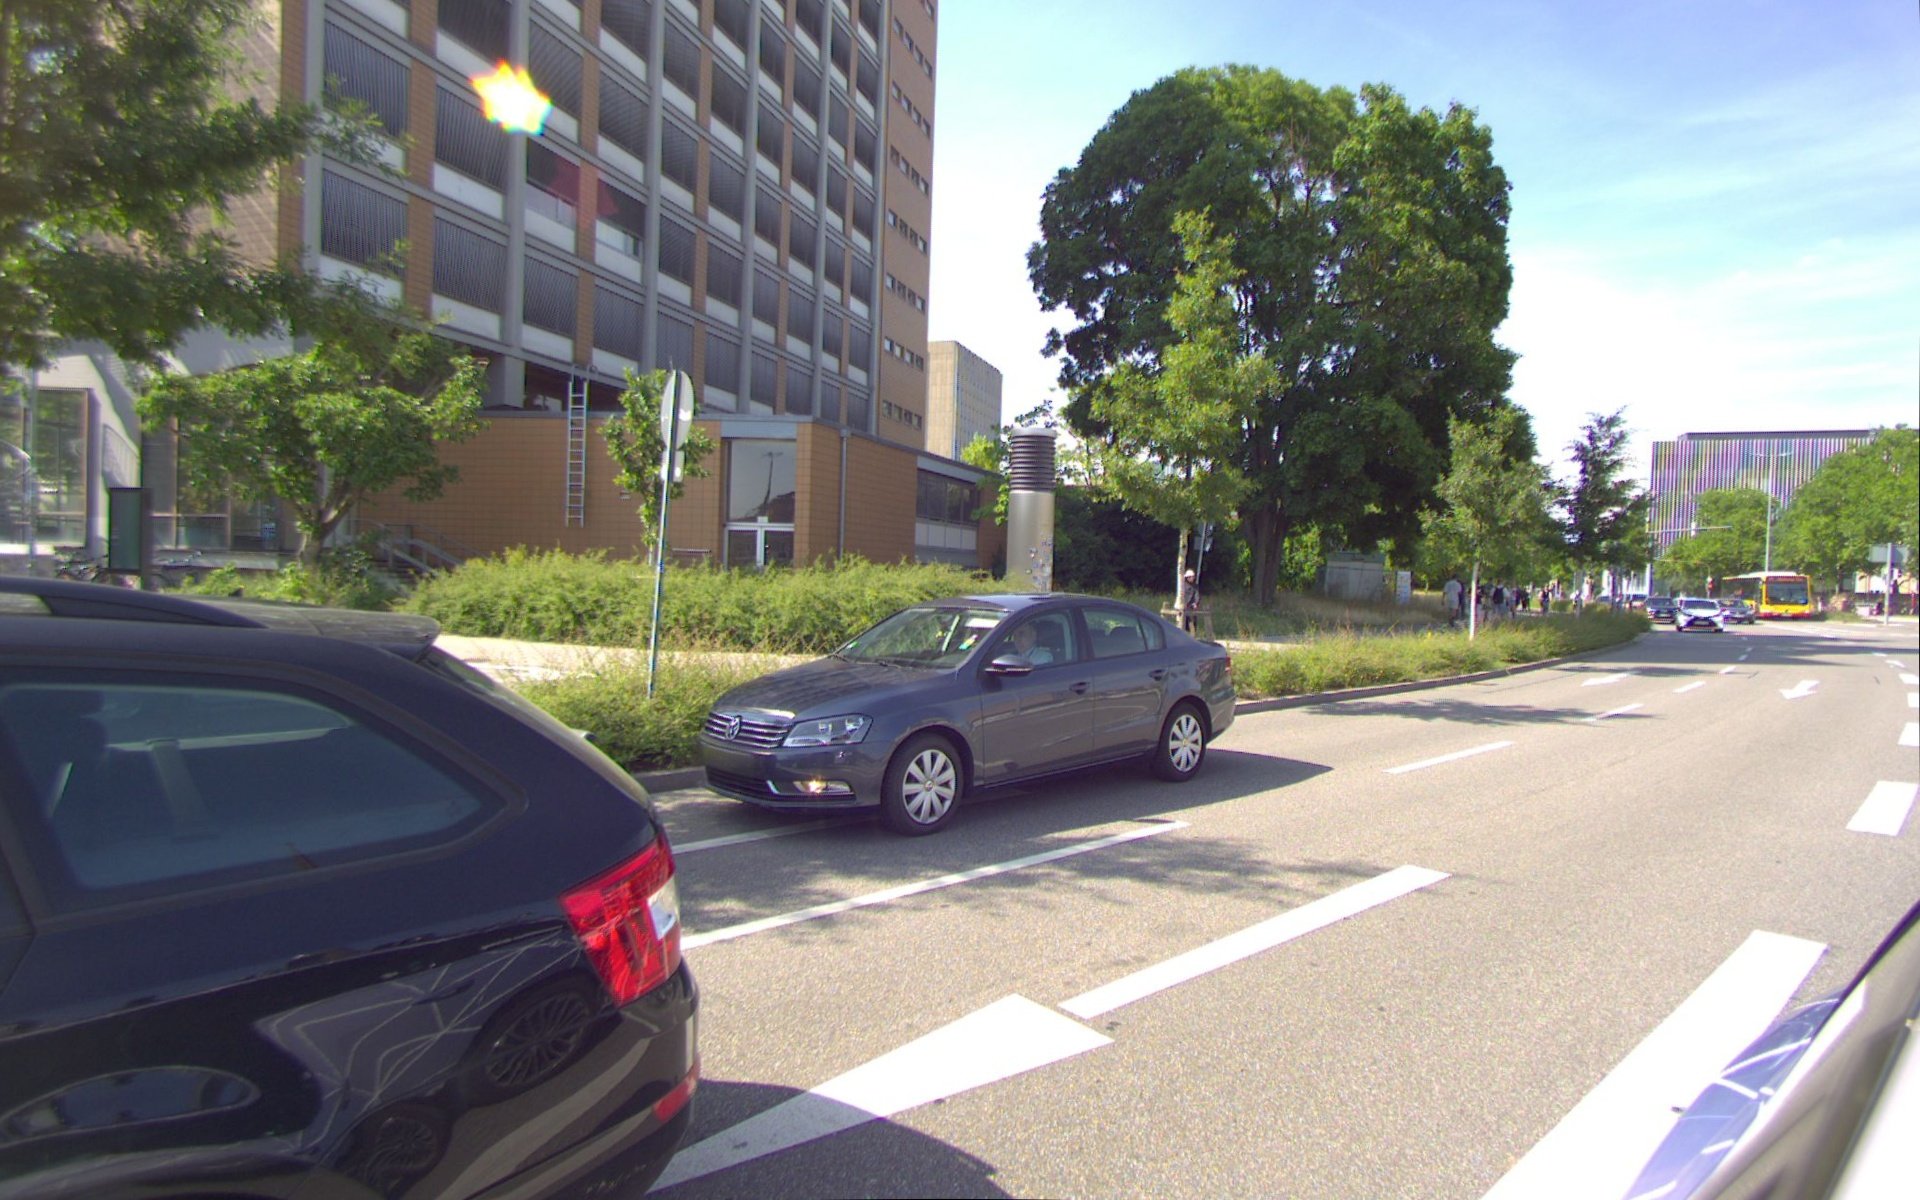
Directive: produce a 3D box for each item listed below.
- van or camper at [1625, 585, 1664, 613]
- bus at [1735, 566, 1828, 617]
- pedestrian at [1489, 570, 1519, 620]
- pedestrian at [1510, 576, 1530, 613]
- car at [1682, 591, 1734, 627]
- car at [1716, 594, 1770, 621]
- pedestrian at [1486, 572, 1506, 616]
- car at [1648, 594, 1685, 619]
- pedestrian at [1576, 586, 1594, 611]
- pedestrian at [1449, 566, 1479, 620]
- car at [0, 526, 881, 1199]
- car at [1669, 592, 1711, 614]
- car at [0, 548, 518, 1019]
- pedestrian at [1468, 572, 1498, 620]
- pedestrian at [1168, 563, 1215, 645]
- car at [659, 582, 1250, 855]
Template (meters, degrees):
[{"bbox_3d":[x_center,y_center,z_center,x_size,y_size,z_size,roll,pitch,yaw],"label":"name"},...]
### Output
[{"bbox_3d":[46.956,-0.094,69.464,1.714,1.911,4.874,0,0,28],"label":"van or camper"},{"bbox_3d":[54.878,-0.590,67.946,2.773,3.076,12.021,2,1,30],"label":"bus"},{"bbox_3d":[19.072,-0.177,35.461,0.739,1.694,0.643,0,3,-41],"label":"pedestrian"},{"bbox_3d":[23.111,-0.237,41.785,0.638,1.464,0.564,3,3,29],"label":"pedestrian"},{"bbox_3d":[32.886,0.376,44.586,1.671,1.493,3.714,0,0,34],"label":"car"},{"bbox_3d":[44.974,0.390,58.187,1.635,1.442,4.083,0,0,26],"label":"car"},{"bbox_3d":[22.348,-0.249,42.186,0.638,1.785,0.470,3,3,29],"label":"pedestrian"},{"bbox_3d":[40.046,0.367,57.397,1.398,1.311,3.542,2,2,30],"label":"car"},{"bbox_3d":[29.799,-0.077,48.265,0.639,1.145,0.743,4,3,33],"label":"pedestrian"},{"bbox_3d":[17.946,-0.249,36.038,0.719,1.860,0.643,0,3,-41],"label":"pedestrian"},{"bbox_3d":[-2.441,0.635,1.109,4.698,1.453,1.633,-1,1,-42],"label":"car"},{"bbox_3d":[49.744,0.153,69.032,1.635,1.442,4.083,0,0,26],"label":"car"},{"bbox_3d":[-4.043,0.555,3.434,4.325,1.447,1.702,1,4,-44],"label":"car"},{"bbox_3d":[18.357,-0.141,35.532,0.719,1.646,0.643,0,3,-41],"label":"pedestrian"},{"bbox_3d":[4.895,0.066,21.415,0.719,1.684,0.592,0,3,-41],"label":"pedestrian"},{"bbox_3d":[0.214,0.599,7.508,4.451,1.453,1.633,-1,1,-42],"label":"car"}]
